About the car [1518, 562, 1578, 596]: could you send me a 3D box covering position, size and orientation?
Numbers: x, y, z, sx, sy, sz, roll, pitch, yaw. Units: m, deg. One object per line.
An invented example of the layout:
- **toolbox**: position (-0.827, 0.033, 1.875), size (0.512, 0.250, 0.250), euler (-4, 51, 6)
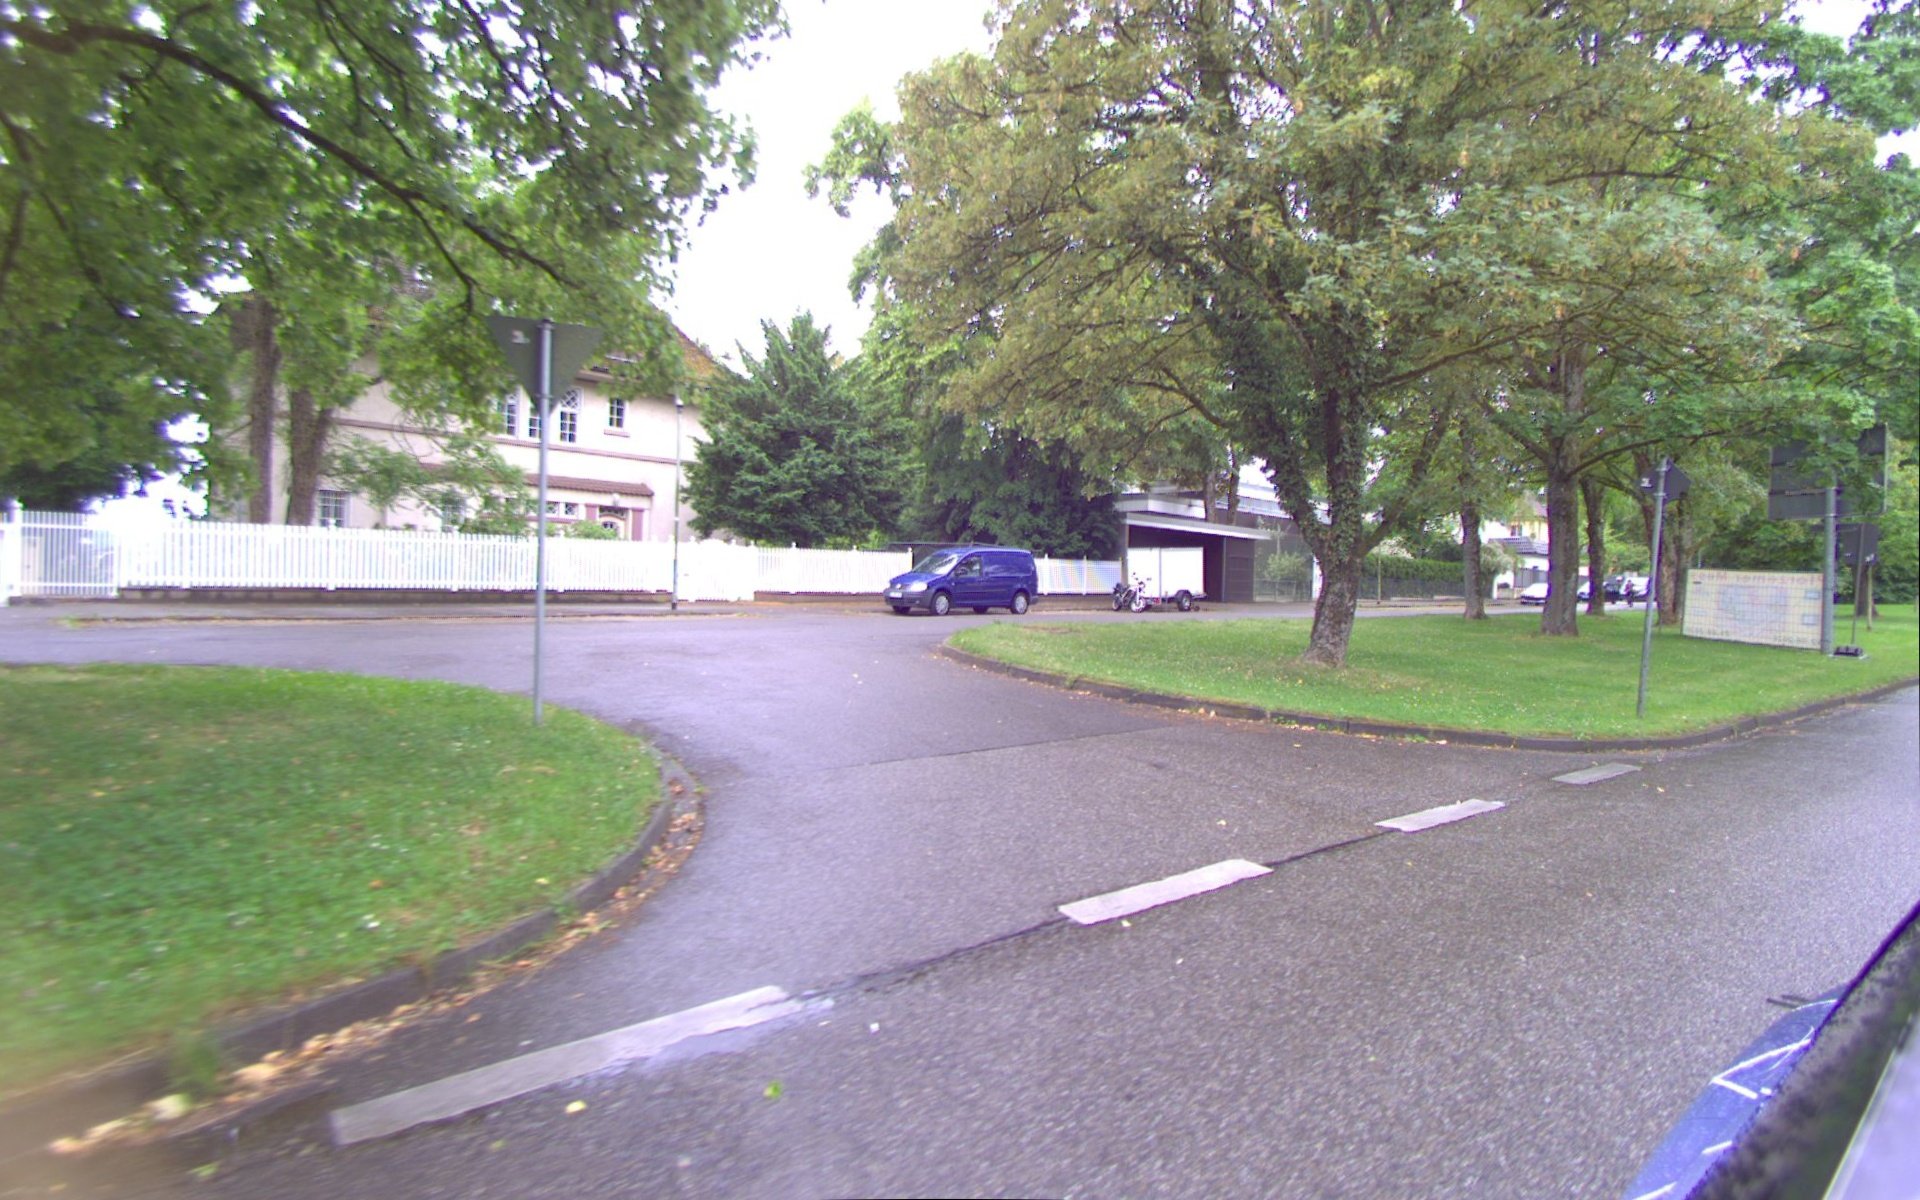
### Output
- **car**: position (36.365, -1.307, 62.591), size (3.930, 2.038, 1.998), euler (0, 2, -41)

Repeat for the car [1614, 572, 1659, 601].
- **car**: position (52.977, -1.052, 79.206), size (3.931, 2.039, 1.996), euler (2, 1, -43)

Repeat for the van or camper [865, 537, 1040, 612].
- **van or camper**: position (-0.119, -0.654, 27.159), size (1.994, 1.831, 4.699), euler (0, 0, 44)

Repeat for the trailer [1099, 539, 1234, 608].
- **trailer**: position (6.937, -0.838, 33.618), size (5.106, 2.143, 1.768), euler (-1, 0, -43)
